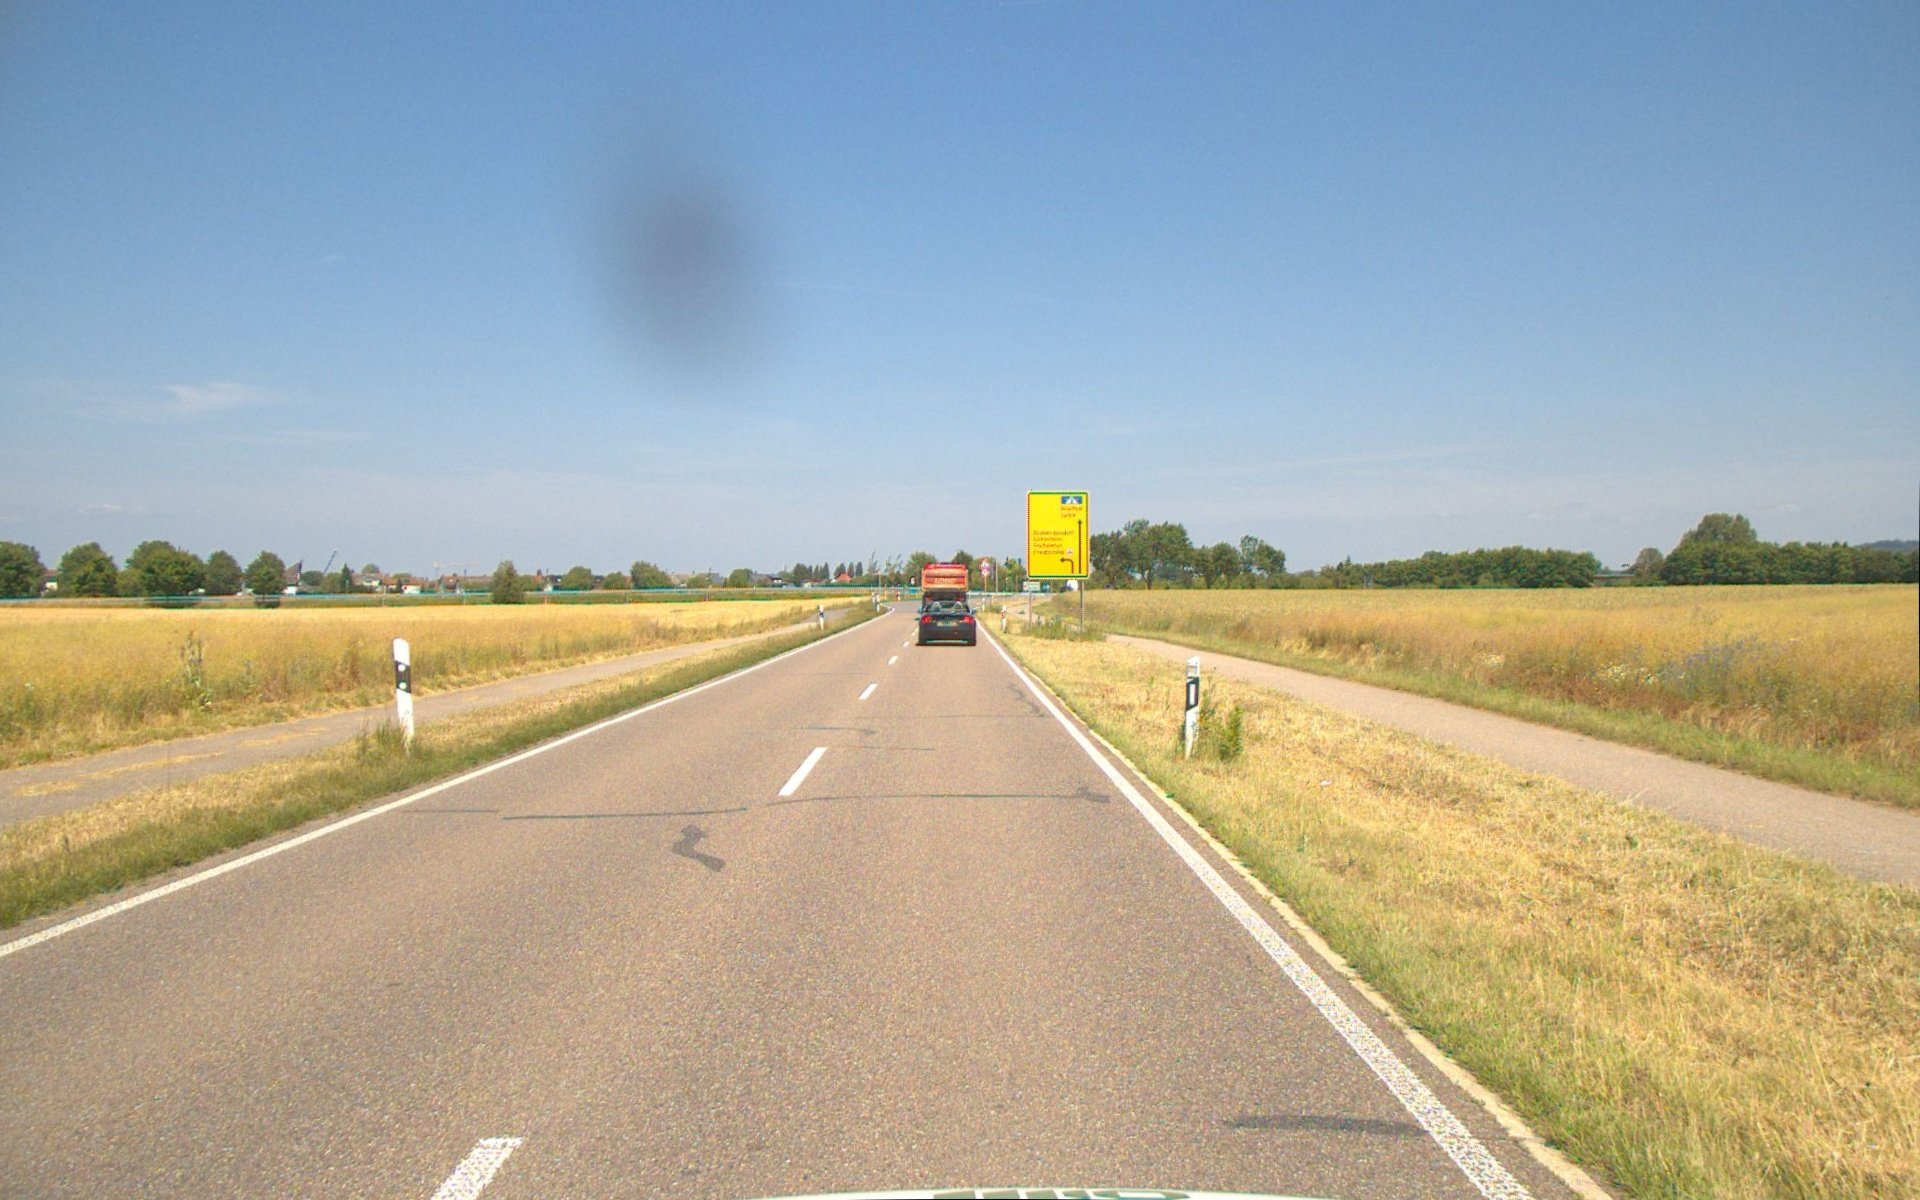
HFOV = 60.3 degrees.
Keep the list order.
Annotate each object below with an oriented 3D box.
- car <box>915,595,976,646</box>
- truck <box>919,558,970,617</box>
[{"bbox_3d":[-0.437,0.601,49.623,1.712,1.400,3.678,2,0,0],"label":"car"},{"bbox_3d":[-0.867,-0.649,91.872,2.658,3.106,8.163,1,0,-1],"label":"truck"}]
